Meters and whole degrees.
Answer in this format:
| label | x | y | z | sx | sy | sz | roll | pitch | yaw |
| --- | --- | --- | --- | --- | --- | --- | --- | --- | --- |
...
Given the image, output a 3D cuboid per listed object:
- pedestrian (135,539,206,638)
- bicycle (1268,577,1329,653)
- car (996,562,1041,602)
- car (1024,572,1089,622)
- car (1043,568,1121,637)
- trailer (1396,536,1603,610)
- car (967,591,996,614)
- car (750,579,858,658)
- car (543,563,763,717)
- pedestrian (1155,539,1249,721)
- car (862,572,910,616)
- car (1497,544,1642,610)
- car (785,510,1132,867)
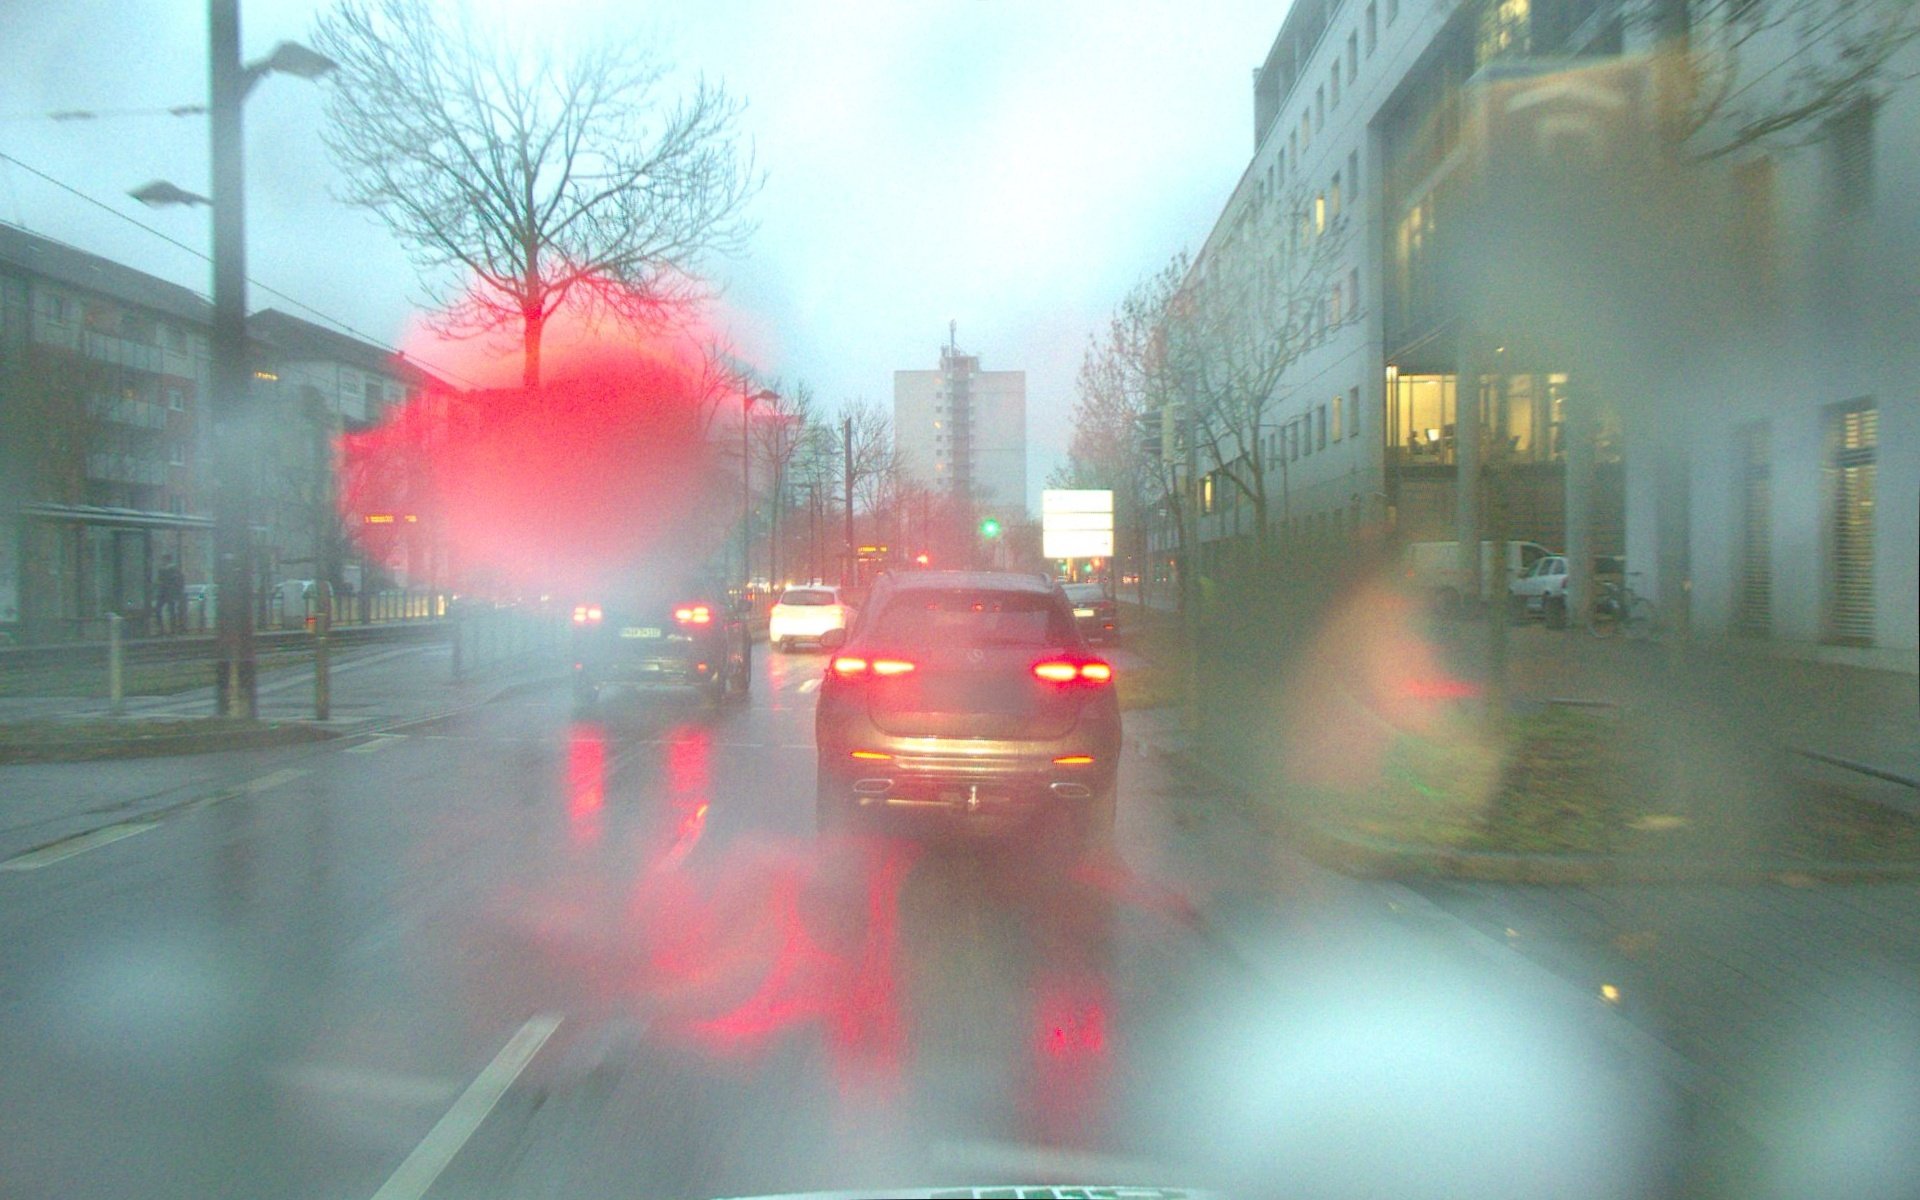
| label | x | y | z | sx | sy | sz | roll | pitch | yaw |
| --- | --- | --- | --- | --- | --- | --- | --- | --- | --- |
| pedestrian | -16.682 | -0.227 | 34.952 | 1.130 | 2.049 | 0.947 | 1 | -1 | -41 |
| bicycle | 5.326 | 0.235 | 26.122 | 0.539 | 1.135 | 2.166 | -2 | -1 | 1 |
| car | 2.682 | -0.804 | 75.278 | 1.952 | 1.720 | 3.530 | 1 | 0 | 3 |
| car | 2.868 | -0.123 | 49.968 | 1.718 | 1.427 | 4.250 | 1 | 1 | 0 |
| car | 2.767 | 0.059 | 38.154 | 1.563 | 1.465 | 4.229 | 1 | 0 | 1 |
| trailer | 14.410 | -0.742 | 44.408 | 4.959 | 1.944 | 2.132 | 0 | 2 | 7 |
| car | 1.444 | 0.177 | 109.780 | 1.733 | 1.528 | 3.370 | 1 | 0 | 4 |
| car | -3.485 | 0.409 | 37.715 | 1.952 | 1.671 | 4.023 | 1 | 0 | 1 |
| car | -3.804 | 0.472 | 21.263 | 1.952 | 1.742 | 4.324 | 1 | 0 | 0 |
| pedestrian | 2.572 | 0.317 | 17.635 | 0.755 | 1.840 | 0.699 | -4 | -1 | -2 |
| car | -2.586 | -0.204 | 58.135 | 1.563 | 1.467 | 3.205 | 1 | 0 | -1 |
| car | 13.862 | -0.485 | 37.896 | 1.598 | 1.395 | 4.529 | 1 | 0 | -1 |
| car | -0.035 | 0.518 | 11.512 | 1.953 | 2.010 | 4.067 | 1 | 0 | -1 |
